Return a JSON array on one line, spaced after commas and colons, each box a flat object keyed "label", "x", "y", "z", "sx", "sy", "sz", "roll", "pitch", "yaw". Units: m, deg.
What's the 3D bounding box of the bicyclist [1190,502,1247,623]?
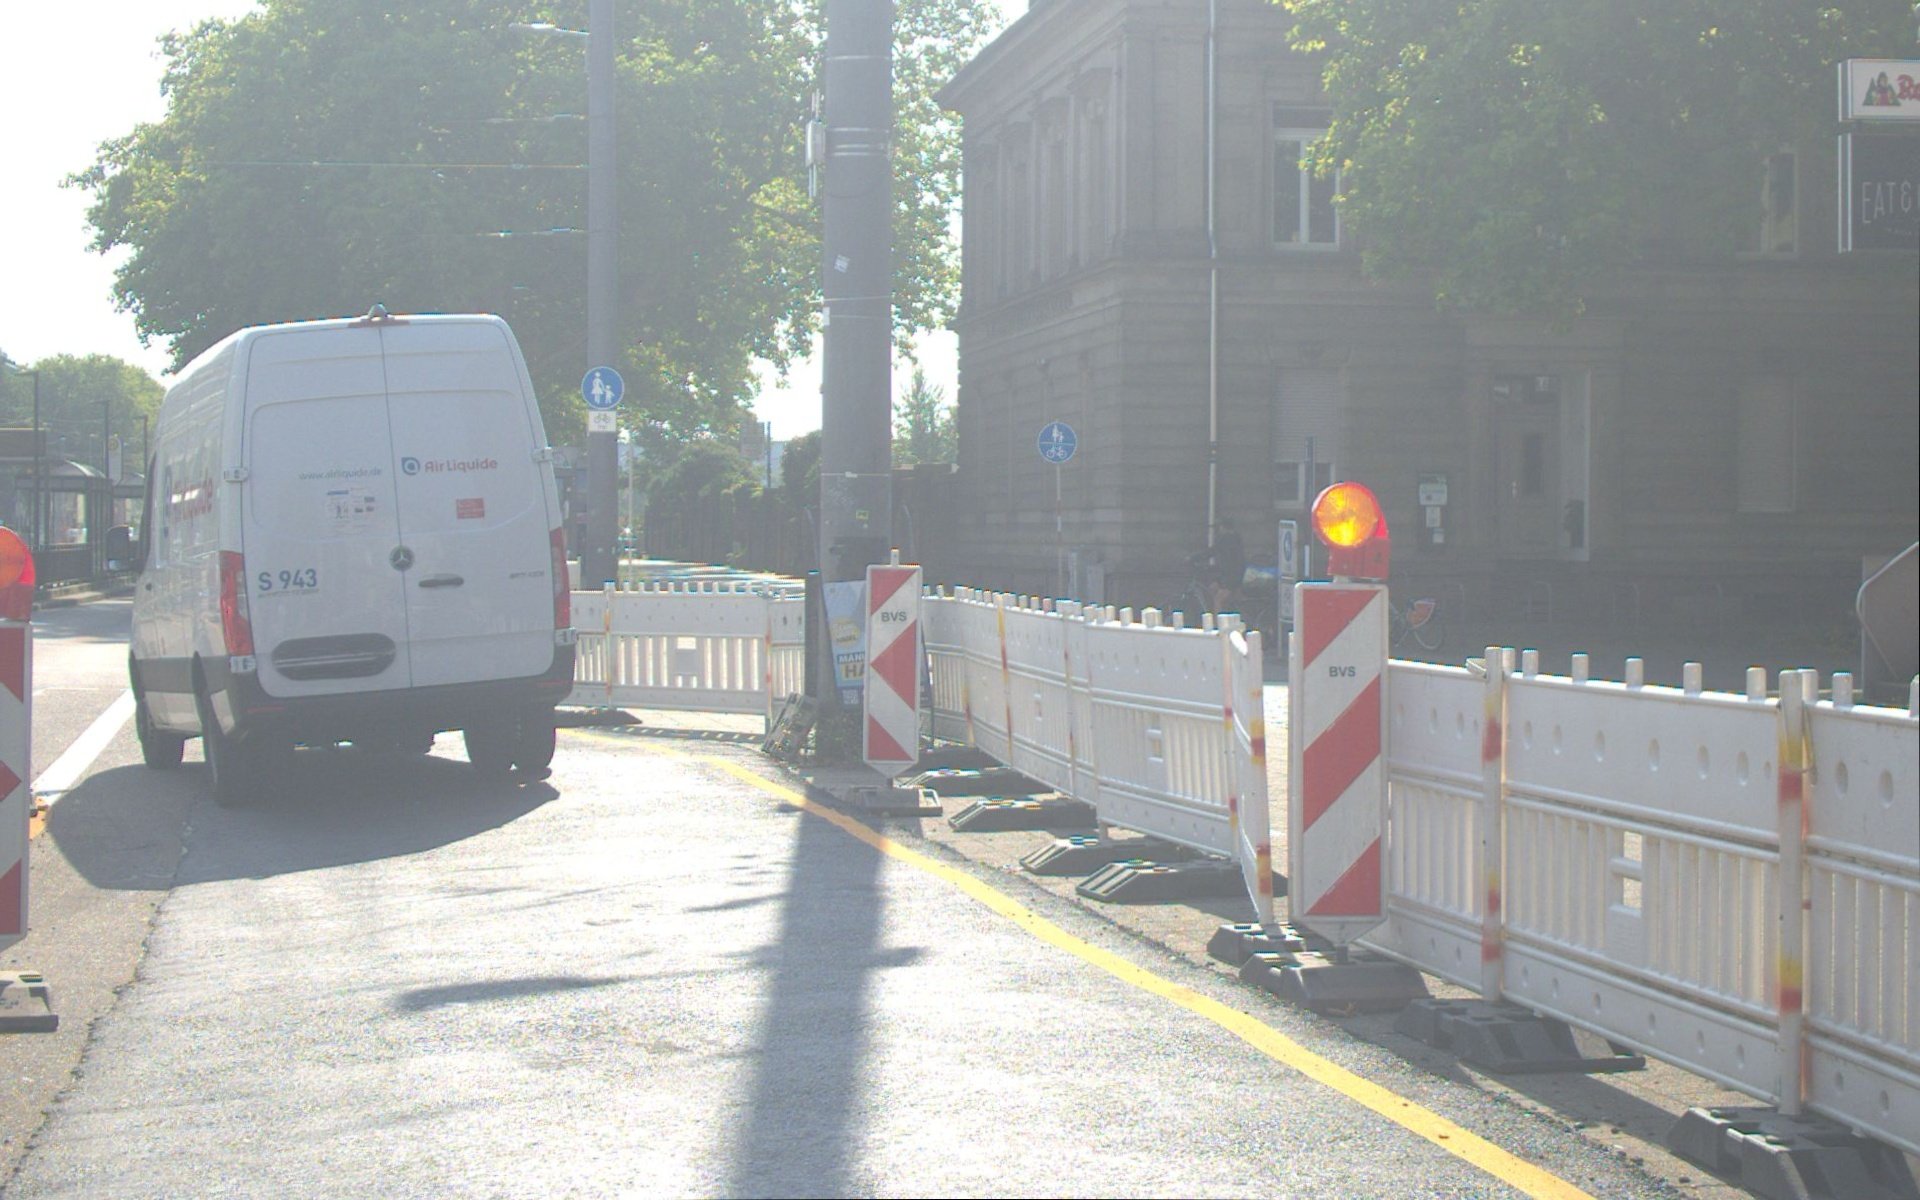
[{"label": "bicyclist", "x": 3.311, "y": -0.485, "z": 44.039, "sx": 0.595, "sy": 1.534, "sz": 0.470, "roll": 1, "pitch": 2, "yaw": 23}]

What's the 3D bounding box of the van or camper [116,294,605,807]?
[{"label": "van or camper", "x": -3.799, "y": -0.361, "z": 20.922, "sx": 2.115, "sy": 2.672, "sz": 5.252, "roll": -2, "pitch": 2, "yaw": -18}]

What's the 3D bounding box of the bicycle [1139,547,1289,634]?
[{"label": "bicycle", "x": 3.255, "y": -0.130, "z": 44.073, "sx": 1.853, "sy": 1.085, "sz": 0.492, "roll": 1, "pitch": 2, "yaw": 24}]

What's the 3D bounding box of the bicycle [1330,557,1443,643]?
[{"label": "bicycle", "x": 5.552, "y": -0.012, "z": 44.869, "sx": 0.491, "sy": 0.996, "sz": 1.818, "roll": -1, "pitch": 4, "yaw": -28}]
